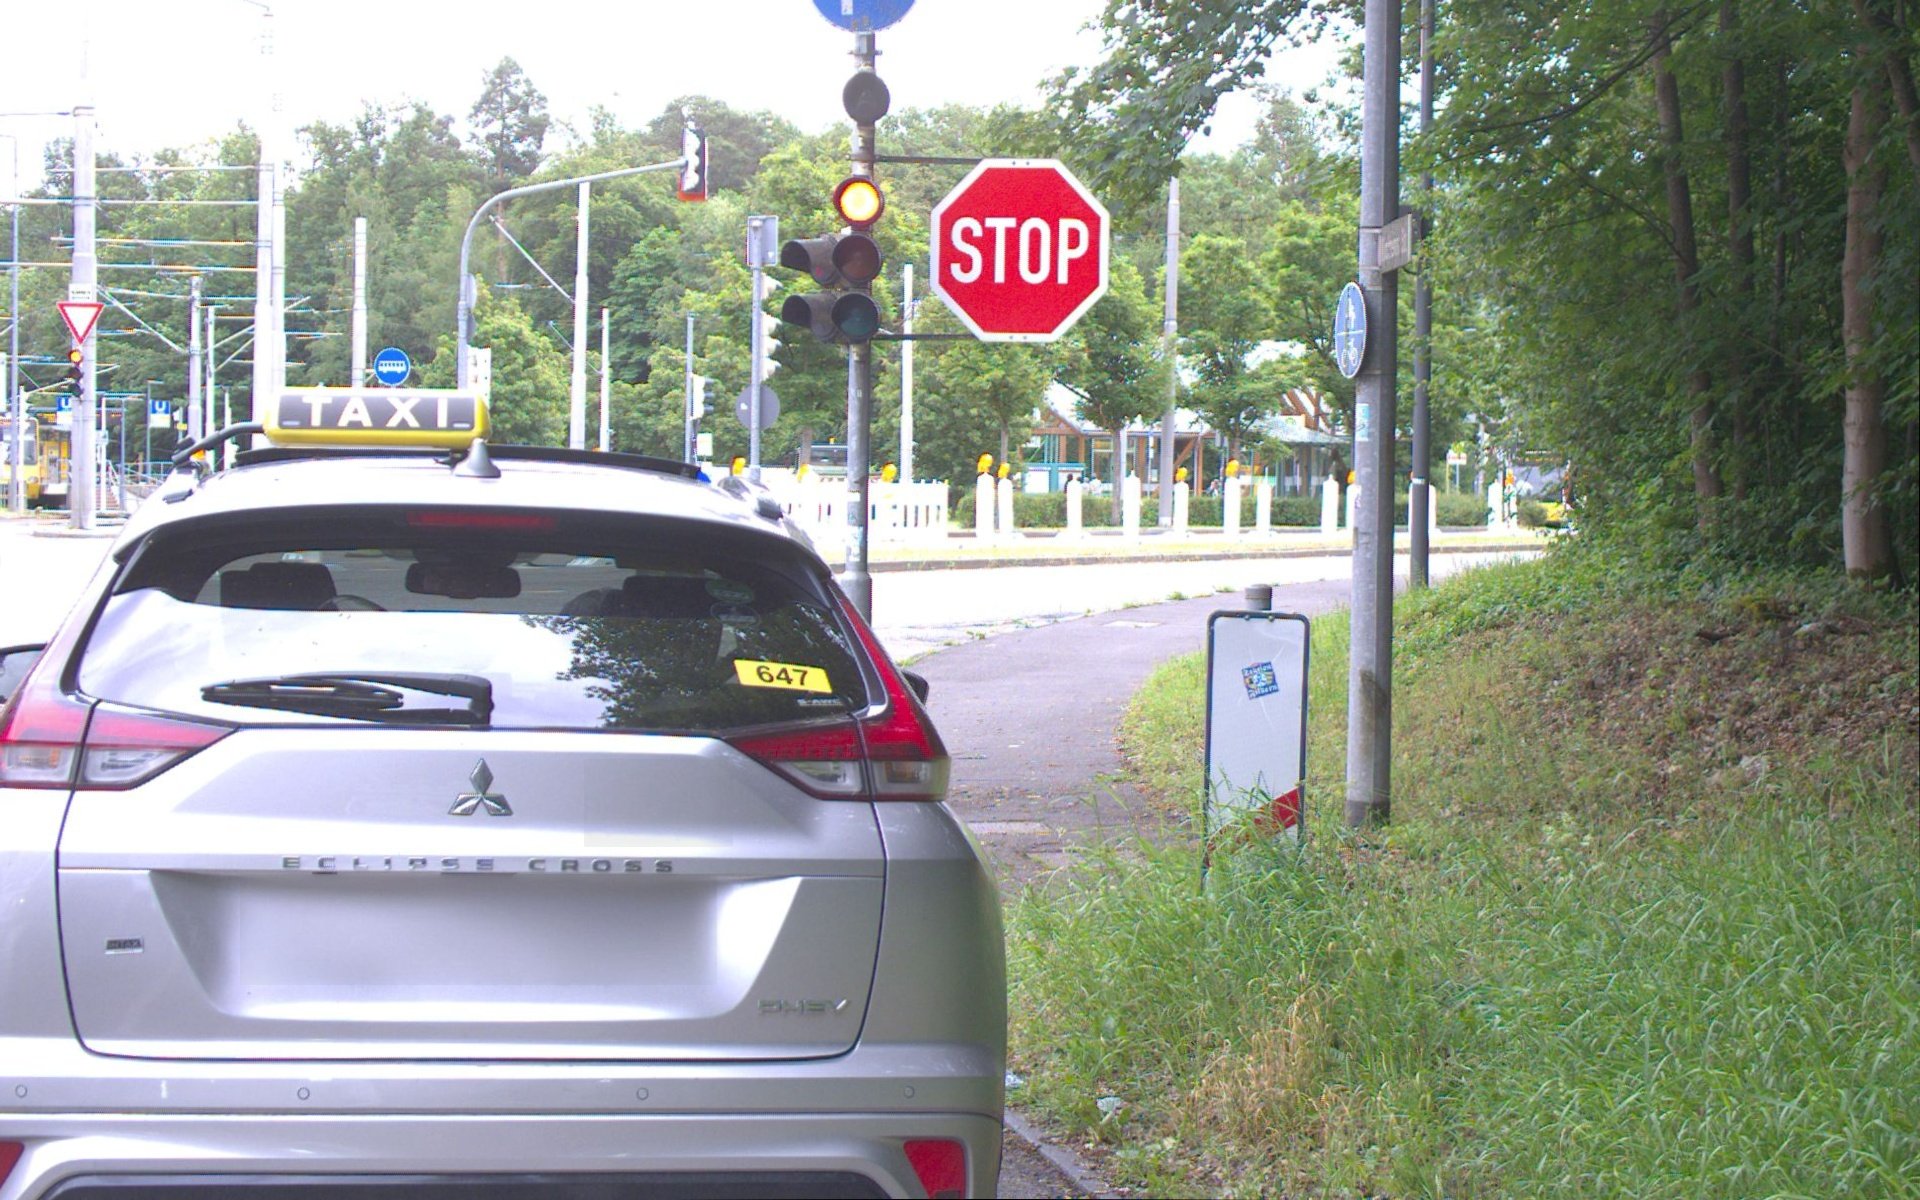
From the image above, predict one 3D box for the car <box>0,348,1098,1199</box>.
[{"bbox_3d":[-0.997,0.475,6.827,1.773,1.742,3.782,2,2,-9],"label":"car"}]
